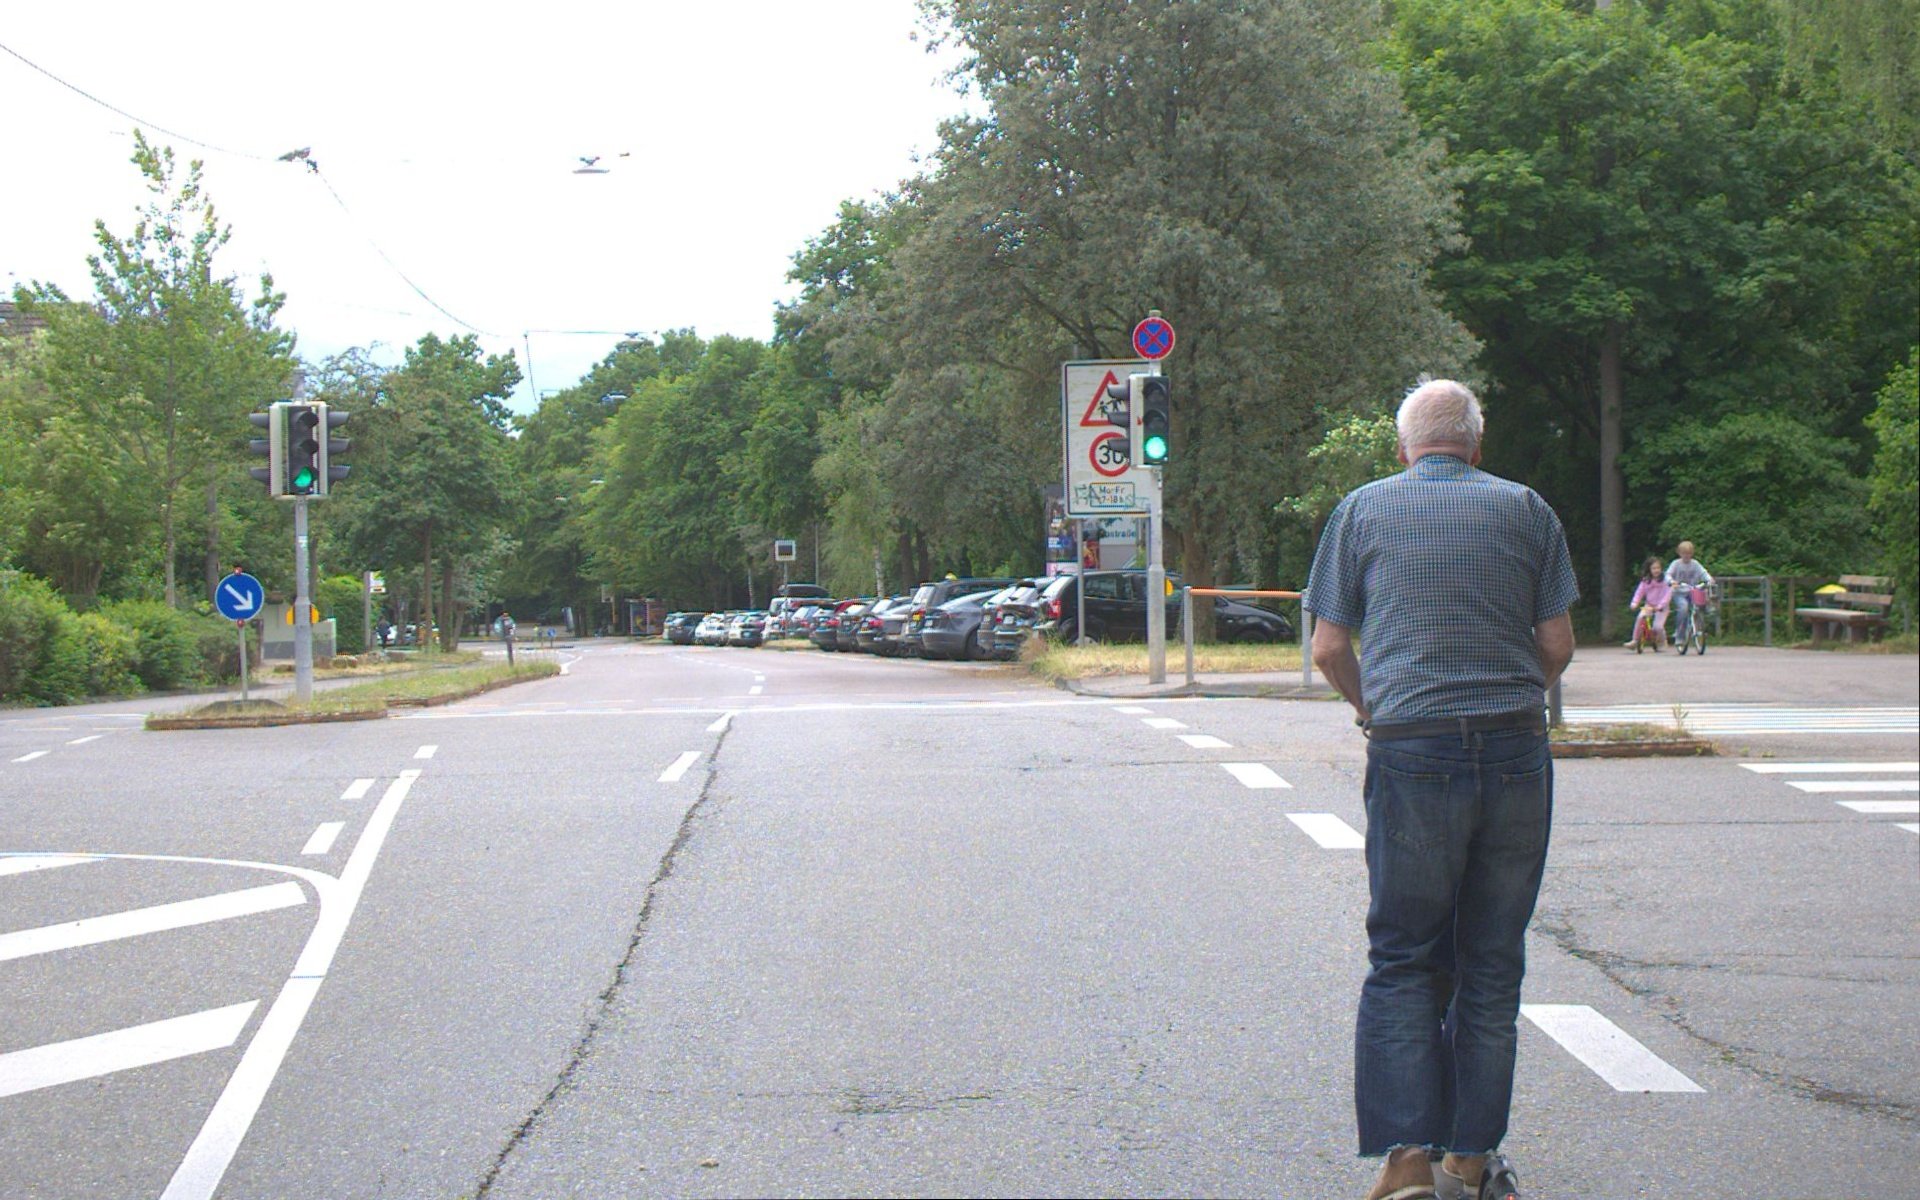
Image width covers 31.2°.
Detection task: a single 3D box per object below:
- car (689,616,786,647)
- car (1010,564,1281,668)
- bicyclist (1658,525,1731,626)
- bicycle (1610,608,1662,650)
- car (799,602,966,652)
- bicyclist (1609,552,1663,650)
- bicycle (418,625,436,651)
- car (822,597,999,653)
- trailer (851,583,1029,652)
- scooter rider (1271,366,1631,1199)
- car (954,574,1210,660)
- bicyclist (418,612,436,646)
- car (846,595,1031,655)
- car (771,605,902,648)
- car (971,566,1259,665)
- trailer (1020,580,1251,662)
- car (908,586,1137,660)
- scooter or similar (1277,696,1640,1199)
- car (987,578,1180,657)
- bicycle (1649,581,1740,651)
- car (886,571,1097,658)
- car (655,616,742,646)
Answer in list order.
[{"bbox_3d":[-9.760,1.369,151.057,3.884,1.305,1.743,0,-1,-30],"label":"car"},{"bbox_3d":[2.693,0.228,50.358,3.715,1.471,1.577,0,0,-8],"label":"car"},{"bbox_3d":[8.611,-0.292,40.345,0.639,1.158,0.804,-1,1,-2],"label":"bicyclist"},{"bbox_3d":[8.367,0.361,42.558,0.518,0.496,0.988,-1,-1,5],"label":"bicycle"},{"bbox_3d":[-2.163,0.753,95.665,4.311,1.336,1.734,0,-1,-20],"label":"car"},{"bbox_3d":[8.365,0.021,42.563,0.518,1.183,0.967,-1,-1,5],"label":"bicyclist"},{"bbox_3d":[-26.462,1.878,170.702,0.844,1.262,2.652,-1,0,-7],"label":"bicycle"},{"bbox_3d":[-1.306,0.644,90.265,4.343,1.440,1.634,0,0,-20],"label":"car"},{"bbox_3d":[-0.457,0.390,77.709,3.687,1.530,1.646,0,0,-17],"label":"trailer"},{"bbox_3d":[1.014,0.398,7.254,0.681,1.724,1.196,0,1,6],"label":"scooter rider"},{"bbox_3d":[2.139,0.303,60.737,4.218,1.459,1.635,0,0,-15],"label":"car"},{"bbox_3d":[-26.465,1.429,170.802,0.844,1.692,0.714,-1,0,-8],"label":"bicyclist"},{"bbox_3d":[-0.506,0.591,79.891,4.036,1.323,1.559,0,-1,-15],"label":"car"},{"bbox_3d":[-4.074,0.874,113.483,3.964,1.401,1.757,0,-1,-21],"label":"car"},{"bbox_3d":[2.383,0.235,52.976,4.134,1.471,1.577,0,-1,-16],"label":"car"},{"bbox_3d":[2.845,0.347,55.887,3.401,1.262,1.617,-1,-1,-15],"label":"trailer"},{"bbox_3d":[1.211,0.450,67.451,4.158,1.402,1.698,0,-1,-17],"label":"car"},{"bbox_3d":[1.029,0.812,7.287,0.681,1.135,1.459,0,2,6],"label":"scooter or similar"},{"bbox_3d":[2.343,0.344,65.589,3.325,1.459,1.635,0,-1,-15],"label":"car"},{"bbox_3d":[8.619,0.180,40.380,0.639,0.756,1.681,-1,1,-2],"label":"bicycle"},{"bbox_3d":[0.627,0.298,70.185,3.984,1.719,1.681,0,-1,-15],"label":"car"},{"bbox_3d":[-12.890,1.506,169.192,3.884,1.424,1.744,0,-1,-26],"label":"car"}]
